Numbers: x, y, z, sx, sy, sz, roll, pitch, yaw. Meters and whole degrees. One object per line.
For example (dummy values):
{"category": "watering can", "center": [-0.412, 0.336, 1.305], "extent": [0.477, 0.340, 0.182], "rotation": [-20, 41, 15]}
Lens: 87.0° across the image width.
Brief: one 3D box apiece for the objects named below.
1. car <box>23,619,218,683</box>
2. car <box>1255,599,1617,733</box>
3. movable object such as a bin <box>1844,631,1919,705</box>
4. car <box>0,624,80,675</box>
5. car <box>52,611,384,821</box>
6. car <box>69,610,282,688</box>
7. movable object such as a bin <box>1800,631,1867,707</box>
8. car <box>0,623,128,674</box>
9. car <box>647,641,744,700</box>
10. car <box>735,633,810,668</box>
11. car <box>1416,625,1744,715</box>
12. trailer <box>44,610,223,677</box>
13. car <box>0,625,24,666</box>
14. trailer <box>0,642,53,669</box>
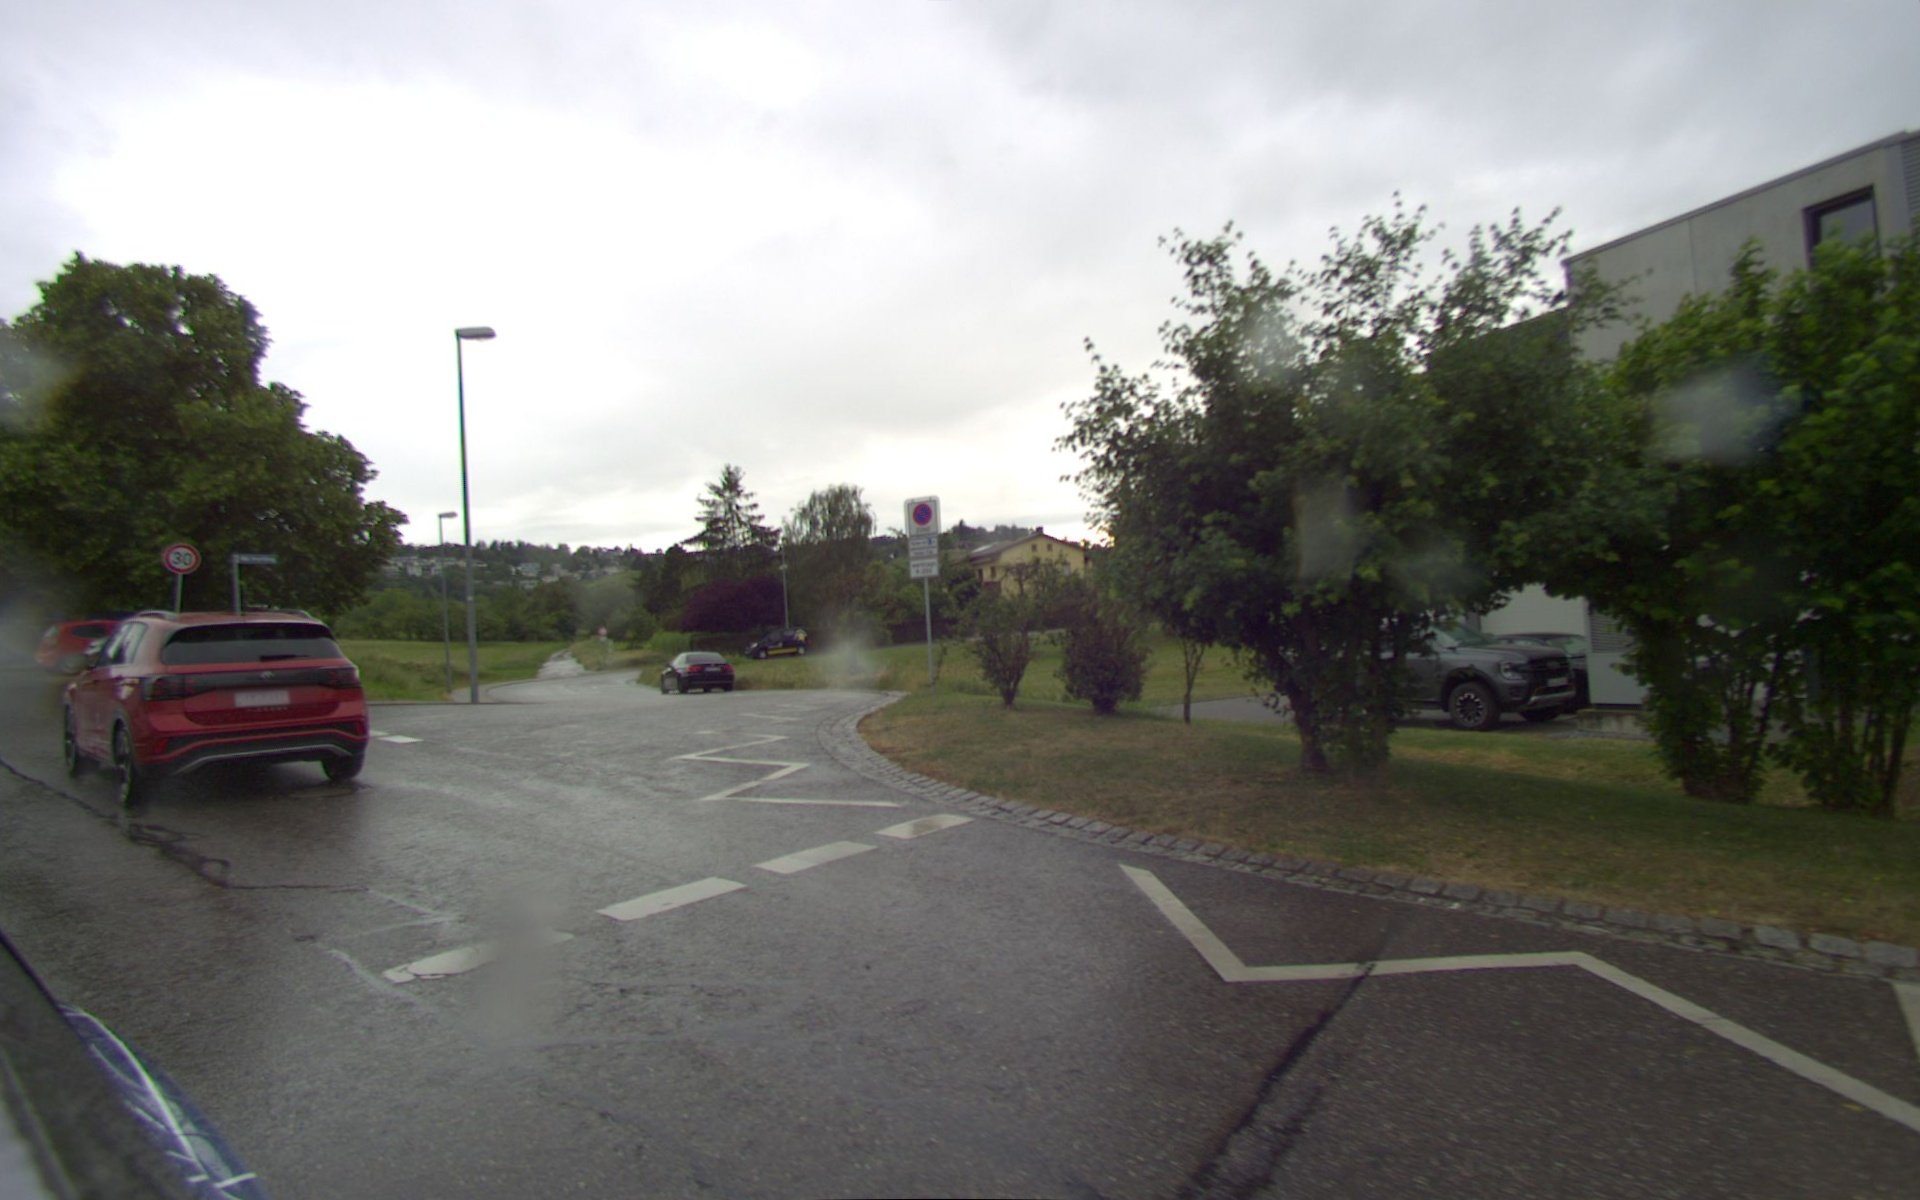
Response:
{"category": "car", "center": [-24.842, 1.446, 30.091], "extent": [1.750, 1.735, 4.162], "rotation": [-1, -1, 33]}
{"category": "car", "center": [8.134, 1.178, 18.079], "extent": [2.099, 1.936, 5.627], "rotation": [-2, -3, -27]}
{"category": "movable object such as a bin", "center": [14.206, 1.038, 15.556], "extent": [0.626, 1.105, 0.676], "rotation": [0, -3, -25]}
{"category": "car", "center": [-35.638, 1.874, 37.630], "extent": [2.022, 1.734, 4.036], "rotation": [-1, 1, 38]}
{"category": "car", "center": [-7.033, 0.894, 9.443], "extent": [3.934, 1.520, 1.729], "rotation": [-1, 0, 42]}
{"category": "car", "center": [-20.870, 1.237, 27.047], "extent": [1.861, 1.920, 4.254], "rotation": [-1, -1, 42]}
{"category": "movable object such as a bin", "center": [13.892, 1.087, 16.102], "extent": [0.547, 1.175, 0.569], "rotation": [0, -3, -25]}
{"category": "car", "center": [-33.161, 1.730, 36.466], "extent": [1.803, 1.601, 4.576], "rotation": [-1, 1, 36]}
{"category": "car", "center": [-9.058, 2.422, 34.359], "extent": [1.966, 1.767, 4.396], "rotation": [0, -6, -31]}
{"category": "car", "center": [-12.349, 3.327, 66.761], "extent": [4.426, 2.237, 1.935], "rotation": [1, -3, -32]}
{"category": "car", "center": [10.991, 1.195, 18.379], "extent": [1.965, 1.407, 4.705], "rotation": [0, -2, -27]}
{"category": "trailer", "center": [-26.569, 1.340, 32.643], "extent": [1.771, 1.999, 4.174], "rotation": [-1, -1, 36]}
{"category": "car", "center": [-42.140, 1.942, 42.109], "extent": [2.038, 1.735, 4.333], "rotation": [-1, -1, 32]}
{"category": "trailer", "center": [-37.869, 2.208, 39.049], "extent": [1.995, 0.968, 3.908], "rotation": [-3, -1, 34]}
